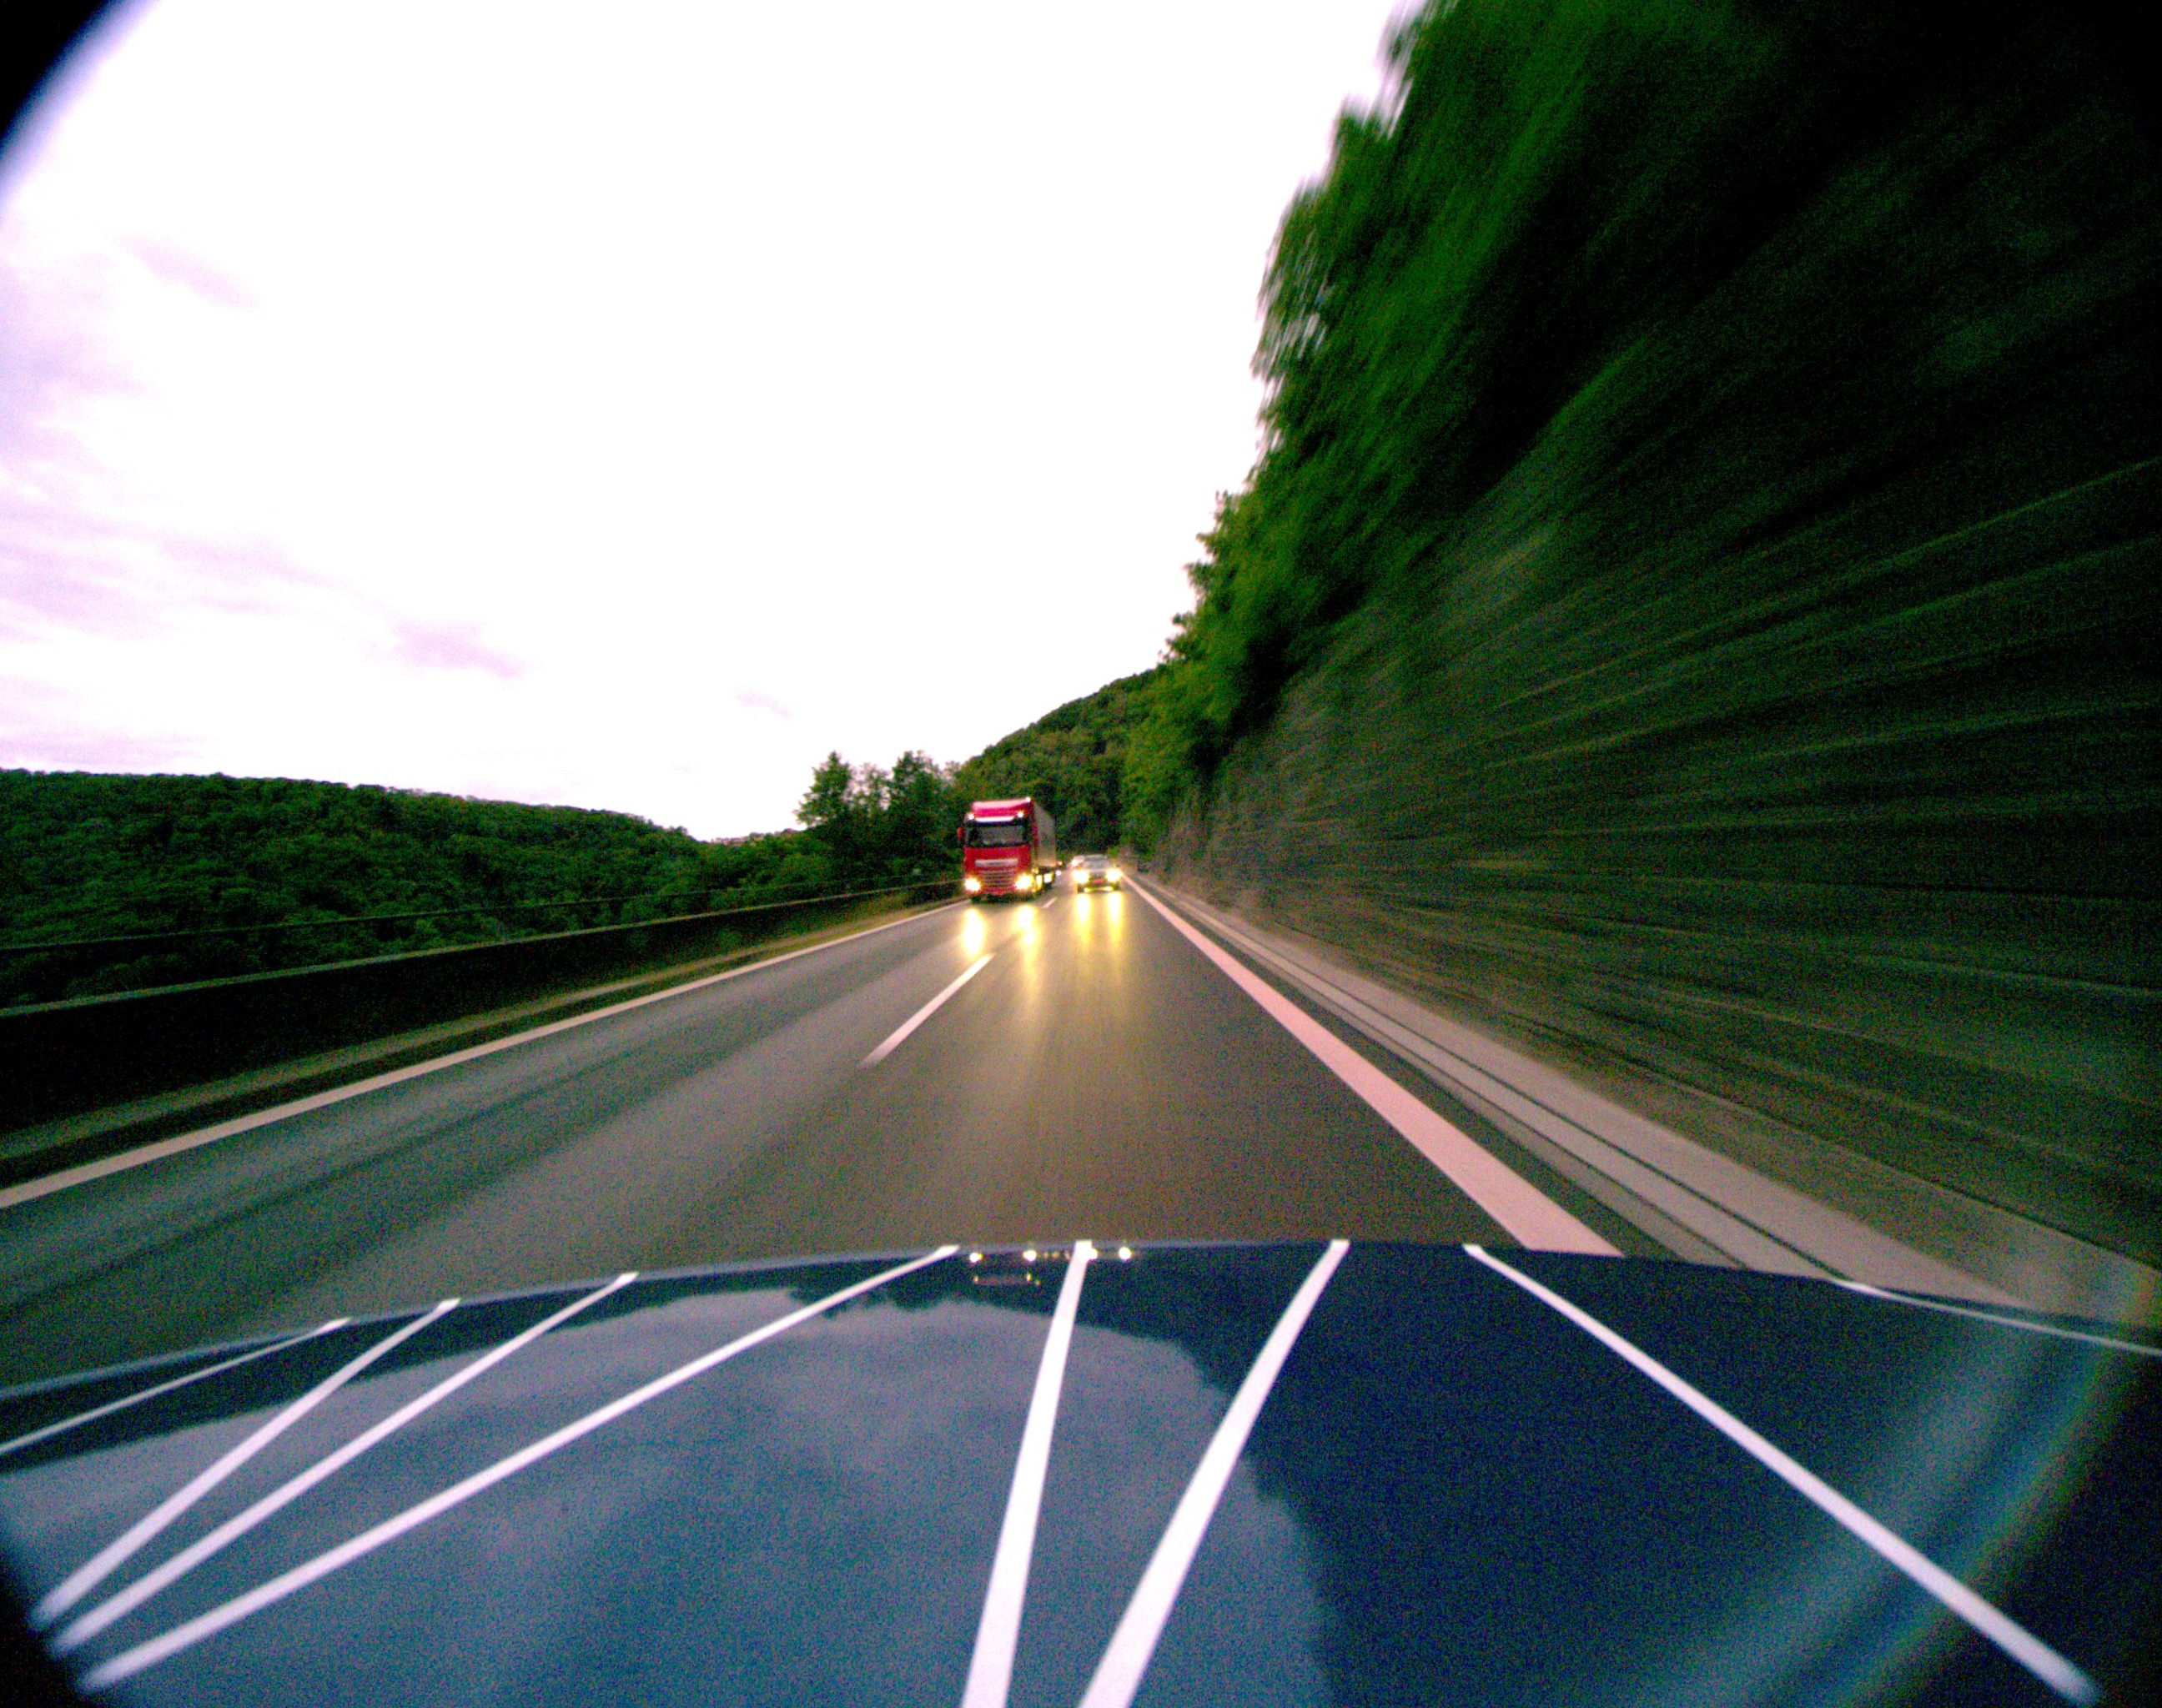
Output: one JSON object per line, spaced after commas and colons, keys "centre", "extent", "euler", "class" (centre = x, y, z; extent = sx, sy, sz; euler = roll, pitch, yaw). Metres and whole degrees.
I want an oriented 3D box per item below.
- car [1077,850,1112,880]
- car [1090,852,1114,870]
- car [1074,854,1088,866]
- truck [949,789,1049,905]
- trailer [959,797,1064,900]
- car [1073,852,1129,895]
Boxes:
{"centre": [0.889, 0.696, 49.320], "extent": [1.998, 1.630, 4.000], "euler": [-7, 0, 1], "class": "car"}
{"centre": [1.903, 0.618, 67.006], "extent": [1.998, 1.499, 4.001], "euler": [-3, -1, 2], "class": "car"}
{"centre": [-0.010, 0.877, 115.476], "extent": [1.998, 1.761, 4.001], "euler": [-2, 0, 1], "class": "car"}
{"centre": [-3.161, -0.262, 31.233], "extent": [3.077, 4.120, 6.446], "euler": [-3, 0, 1], "class": "truck"}
{"centre": [-2.931, -0.178, 37.423], "extent": [3.104, 3.946, 14.220], "euler": [-3, 0, 2], "class": "trailer"}
{"centre": [0.948, 0.793, 32.846], "extent": [1.998, 1.499, 4.001], "euler": [-5, 1, 6], "class": "car"}
